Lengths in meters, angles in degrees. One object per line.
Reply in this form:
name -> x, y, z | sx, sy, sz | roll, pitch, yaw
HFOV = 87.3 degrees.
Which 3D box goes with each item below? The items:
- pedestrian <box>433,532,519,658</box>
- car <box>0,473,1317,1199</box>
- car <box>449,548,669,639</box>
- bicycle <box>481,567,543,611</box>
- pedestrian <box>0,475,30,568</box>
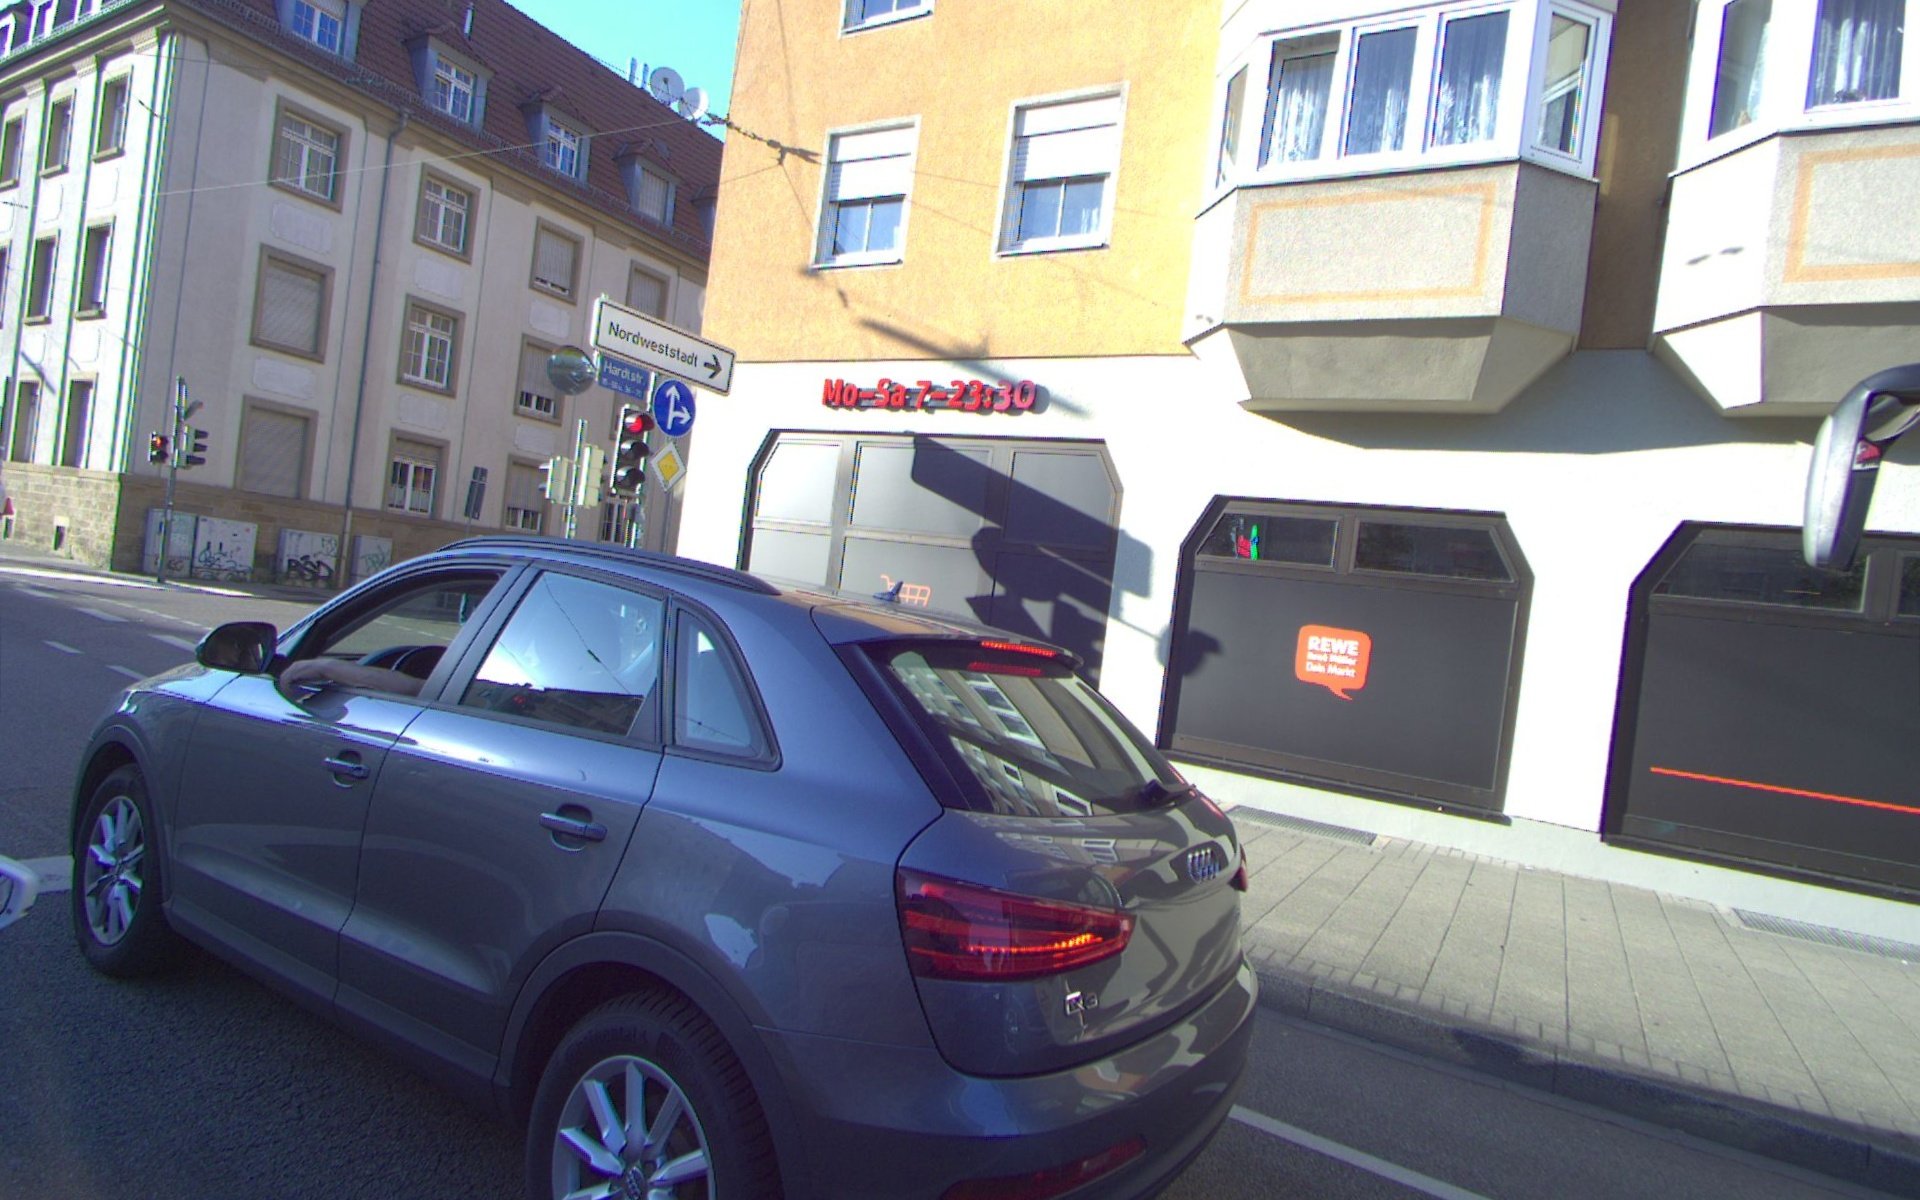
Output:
pedestrian -> -7.284, -0.074, 15.144 | 0.812, 1.778, 0.630 | 6, -1, 32
car -> -1.244, 0.621, 3.295 | 4.155, 1.570, 1.701 | 7, -2, 32
car -> -9.140, -0.097, 23.276 | 1.901, 1.472, 4.321 | 6, -2, 32
bicycle -> -12.468, -0.309, 28.029 | 1.499, 1.029, 0.247 | 9, -2, -43
pedestrian -> -19.350, -1.613, 20.047 | 0.810, 1.783, 0.837 | 6, -1, 31
